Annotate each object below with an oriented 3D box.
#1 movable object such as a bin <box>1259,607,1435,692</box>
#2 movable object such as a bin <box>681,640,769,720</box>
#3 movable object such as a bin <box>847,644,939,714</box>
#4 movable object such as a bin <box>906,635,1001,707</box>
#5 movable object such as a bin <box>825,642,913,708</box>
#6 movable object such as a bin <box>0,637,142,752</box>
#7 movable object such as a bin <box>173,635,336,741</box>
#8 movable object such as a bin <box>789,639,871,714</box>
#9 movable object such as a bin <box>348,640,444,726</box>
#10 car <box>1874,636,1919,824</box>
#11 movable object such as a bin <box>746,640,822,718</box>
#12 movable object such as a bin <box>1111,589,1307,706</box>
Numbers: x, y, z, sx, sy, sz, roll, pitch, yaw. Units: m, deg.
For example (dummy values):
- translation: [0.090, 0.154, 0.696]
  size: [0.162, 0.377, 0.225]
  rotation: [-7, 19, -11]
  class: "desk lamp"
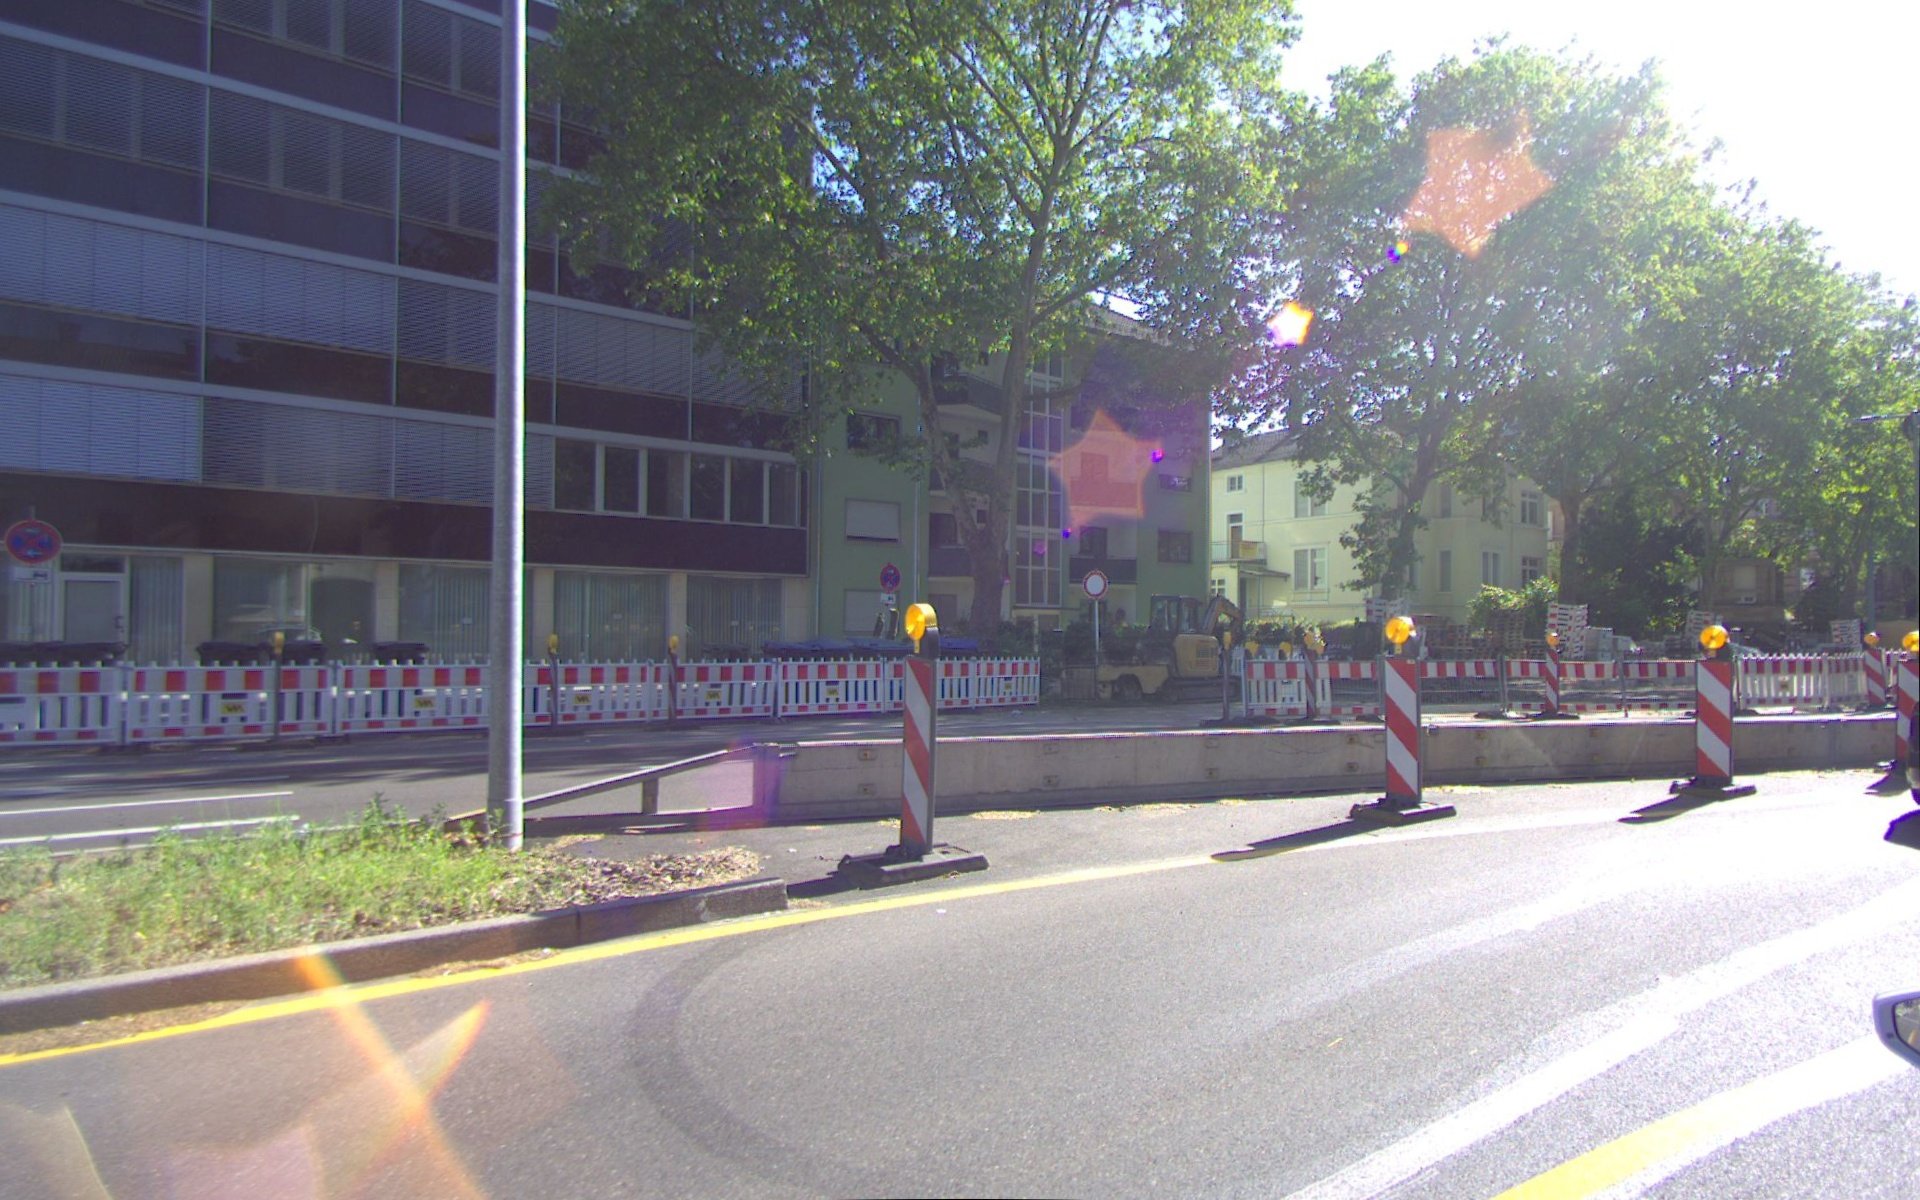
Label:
- translation: [11.516, 1.458, 29.751]
  size: [5.537, 2.308, 1.983]
  rotation: [2, -3, -32]
  class: "movable object such as a bin"
- translation: [-4.283, 1.425, 18.260]
  size: [1.144, 1.355, 1.402]
  rotation: [1, -1, -32]
  class: "movable object such as a bin"
- translation: [-1.329, 1.538, 19.931]
  size: [1.525, 1.287, 0.973]
  rotation: [1, -1, -35]
  class: "movable object such as a bin"
- translation: [-0.136, 1.474, 21.397]
  size: [1.606, 1.441, 1.260]
  rotation: [0, -1, 30]
  class: "movable object such as a bin"
- translation: [-1.886, 1.530, 20.775]
  size: [1.525, 1.287, 0.973]
  rotation: [1, -1, -35]
  class: "movable object such as a bin"
- translation: [-11.993, 1.206, 13.159]
  size: [1.835, 1.406, 1.108]
  rotation: [2, -1, -33]
  class: "movable object such as a bin"
- translation: [-10.154, 1.230, 14.567]
  size: [1.835, 1.406, 1.208]
  rotation: [2, -1, -33]
  class: "movable object such as a bin"
- translation: [-2.523, 1.447, 19.403]
  size: [1.057, 1.355, 1.402]
  rotation: [1, -1, -32]
  class: "movable object such as a bin"
- translation: [-8.724, 1.251, 15.525]
  size: [1.227, 1.219, 1.387]
  rotation: [2, -1, -31]
  class: "movable object such as a bin"
- translation: [9.694, 1.047, 8.193]
  size: [4.568, 1.430, 1.917]
  rotation: [2, -1, -28]
  class: "car"
- translation: [-3.298, 1.437, 18.720]
  size: [0.925, 1.355, 1.402]
  rotation: [1, -1, -32]
  class: "movable object such as a bin"
- translation: [6.571, 1.191, 26.145]
  size: [5.307, 2.742, 2.130]
  rotation: [2, -1, -38]
  class: "movable object such as a bin"
